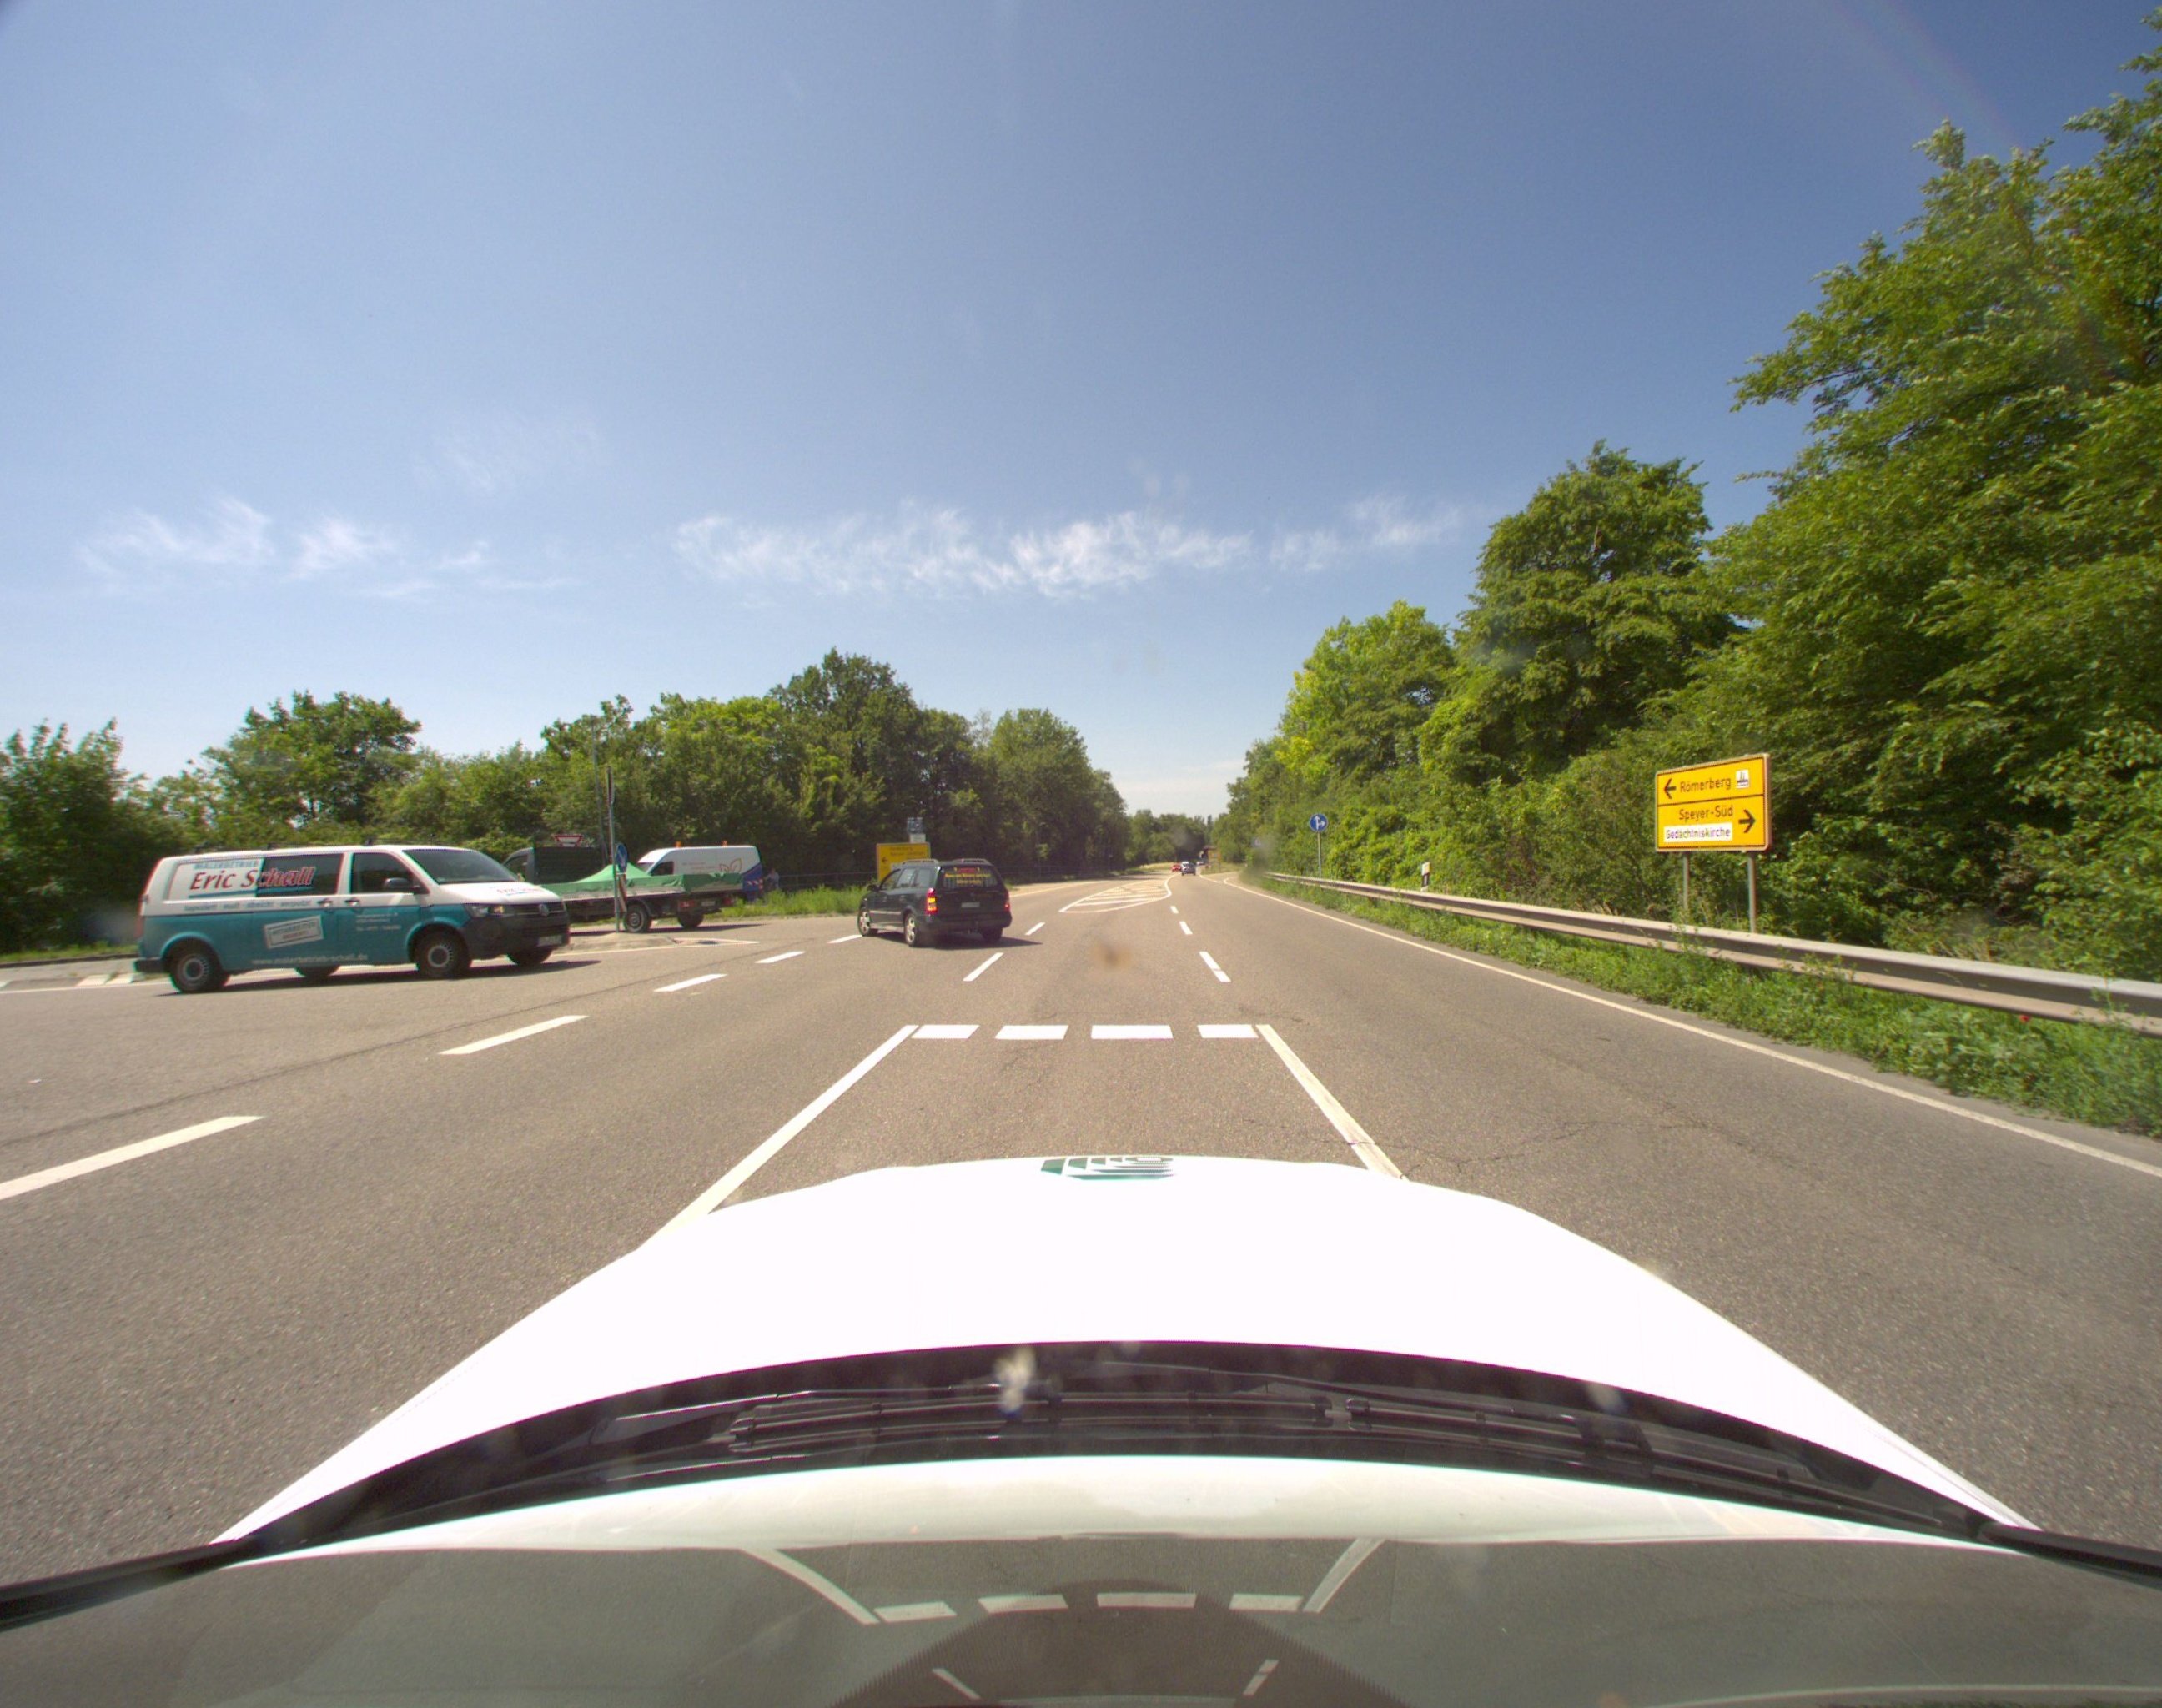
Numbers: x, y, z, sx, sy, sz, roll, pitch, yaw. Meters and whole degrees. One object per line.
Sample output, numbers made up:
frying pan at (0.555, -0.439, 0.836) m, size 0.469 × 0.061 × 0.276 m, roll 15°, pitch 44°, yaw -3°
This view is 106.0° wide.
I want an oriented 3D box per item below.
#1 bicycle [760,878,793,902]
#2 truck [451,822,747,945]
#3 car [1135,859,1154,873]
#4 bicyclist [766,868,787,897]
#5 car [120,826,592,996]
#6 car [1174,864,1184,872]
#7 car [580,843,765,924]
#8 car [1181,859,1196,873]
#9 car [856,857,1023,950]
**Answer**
bicycle at (-14.663, 1.726, 39.226) m, size 0.431 × 1.113 × 1.491 m, roll -2°, pitch -1°, yaw 35°
truck at (-12.051, 0.763, 20.453) m, size 6.571 × 2.565 × 2.153 m, roll -4°, pitch -1°, yaw 13°
car at (14.133, 2.677, 181.570) m, size 2.004 × 3.226 × 4.768 m, roll -1°, pitch 0°, yaw -25°
bicyclist at (-14.673, 1.378, 39.239) m, size 0.681 × 1.363 × 0.613 m, roll -1°, pitch 0°, yaw 36°
car at (-10.422, 0.781, 12.000) m, size 5.150 × 2.027 × 2.001 m, roll -3°, pitch 0°, yaw 2°
car at (18.661, 2.560, 154.844) m, size 1.799 × 1.458 × 3.767 m, roll -1°, pitch -1°, yaw 9°
car at (-15.642, 1.045, 31.553) m, size 2.085 × 2.850 × 6.049 m, roll -1°, pitch -1°, yaw 40°
car at (13.785, 1.545, 104.466) m, size 1.834 × 1.684 × 4.008 m, roll -1°, pitch 0°, yaw 7°
car at (-2.748, 0.820, 15.139) m, size 1.732 × 1.457 × 3.758 m, roll -1°, pitch 0°, yaw -32°
